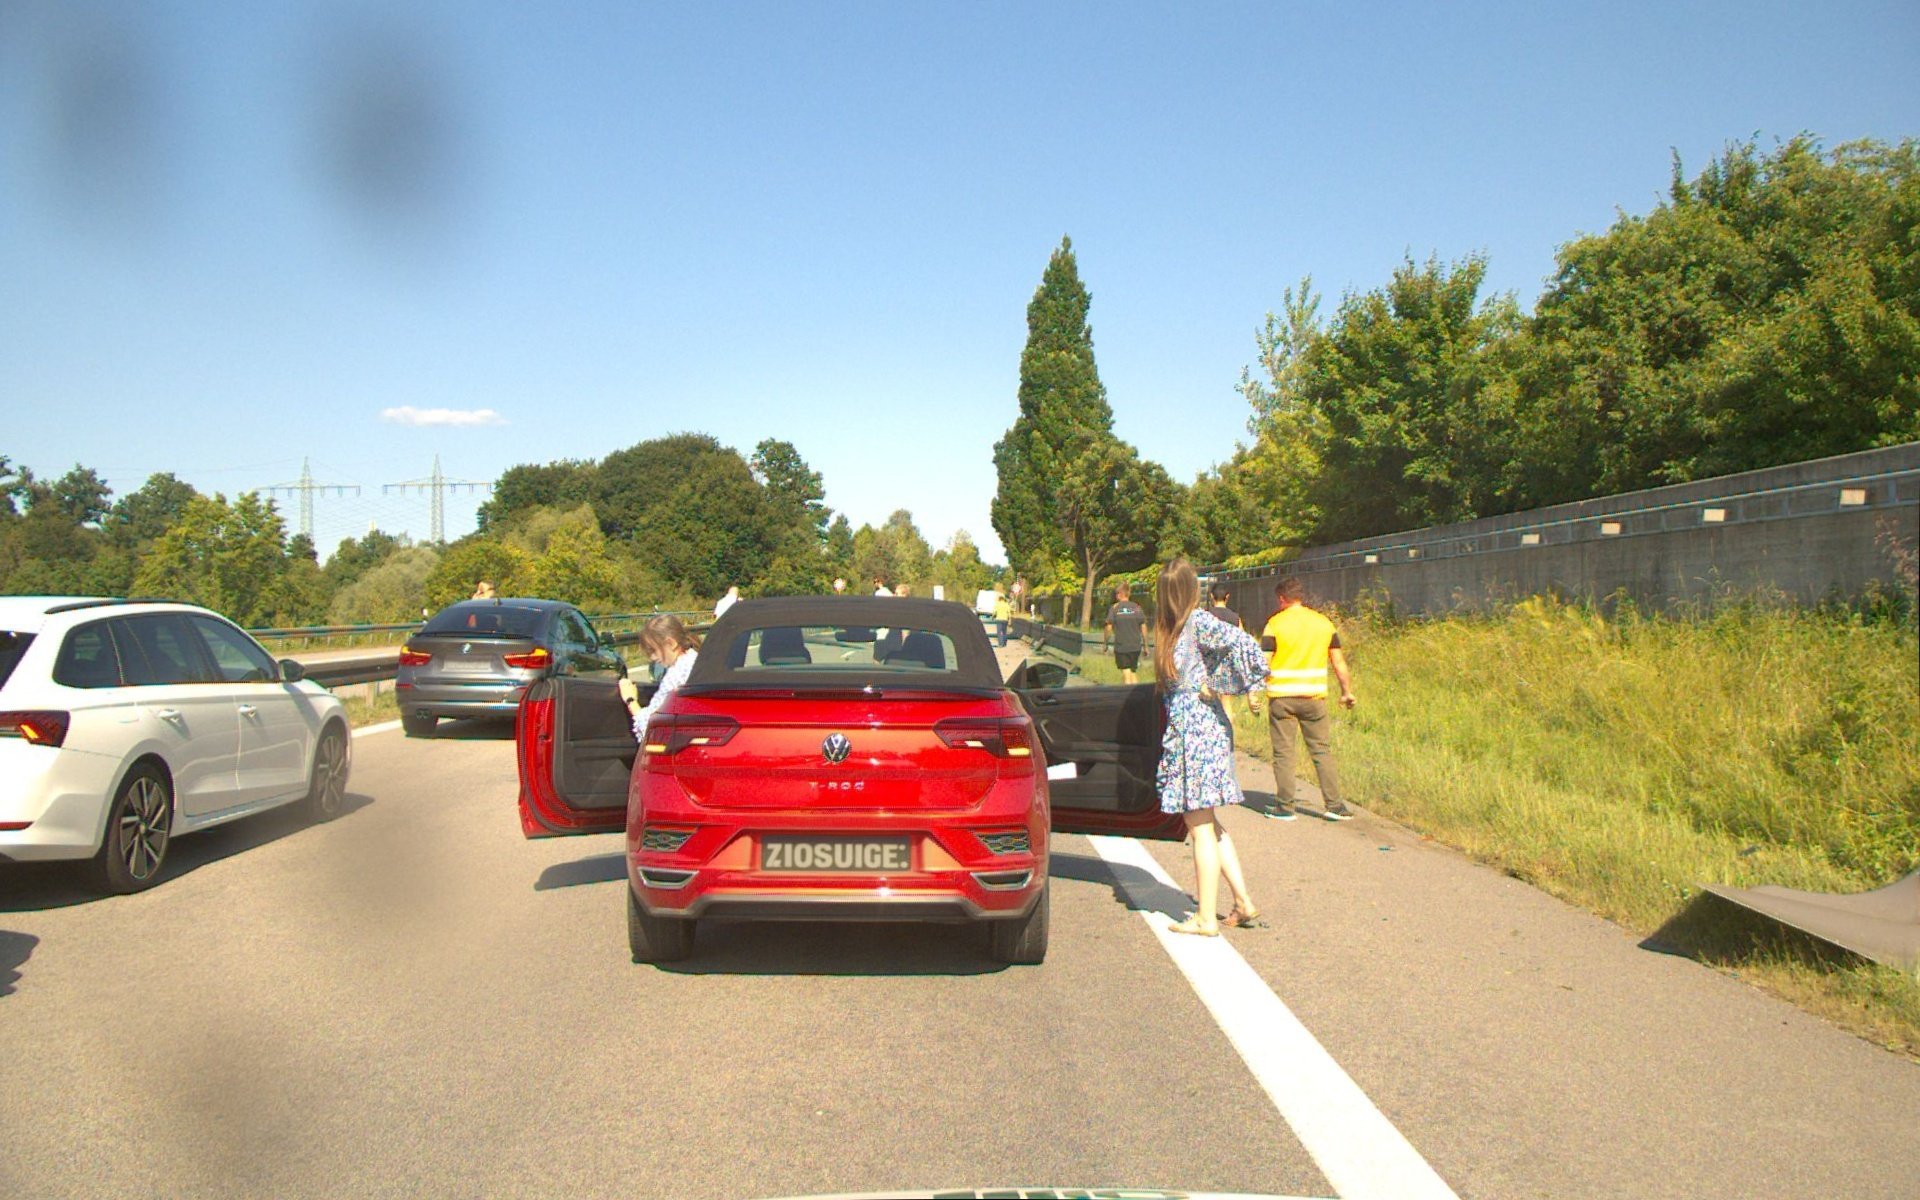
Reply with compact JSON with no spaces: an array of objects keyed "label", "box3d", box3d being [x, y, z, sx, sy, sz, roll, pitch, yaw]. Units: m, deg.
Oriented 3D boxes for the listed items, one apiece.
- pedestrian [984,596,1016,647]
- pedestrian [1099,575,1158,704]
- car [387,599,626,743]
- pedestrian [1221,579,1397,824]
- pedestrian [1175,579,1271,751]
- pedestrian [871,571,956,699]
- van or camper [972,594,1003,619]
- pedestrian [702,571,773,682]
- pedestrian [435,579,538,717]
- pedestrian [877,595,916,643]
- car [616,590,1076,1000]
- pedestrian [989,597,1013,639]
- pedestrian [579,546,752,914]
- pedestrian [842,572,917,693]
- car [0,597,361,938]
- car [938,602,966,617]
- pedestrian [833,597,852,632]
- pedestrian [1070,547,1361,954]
[{"label":"pedestrian","box3d":[1.392,0.748,57.776,1.033,1.719,1.018,1,-1,5]},{"label":"pedestrian","box3d":[2.408,0.558,23.625,0.794,1.790,0.828,1,-1,7]},{"label":"car","box3d":[-5.080,0.731,19.097,1.660,1.451,4.332,1,0,-2]},{"label":"pedestrian","box3d":[2.514,0.699,12.074,0.939,1.682,1.277,-1,0,-3]},{"label":"pedestrian","box3d":[2.748,0.671,17.338,0.876,1.755,0.754,1,-1,0]},{"label":"pedestrian","box3d":[-0.699,0.528,25.382,1.042,1.916,1.094,-1,0,14]},{"label":"van or camper","box3d":[2.700,0.616,160.311,1.951,2.356,4.473,1,-1,15]},{"label":"pedestrian","box3d":[-3.727,0.442,27.821,1.082,1.820,1.091,1,-1,-4]},{"label":"pedestrian","box3d":[-6.335,0.627,22.180,1.019,1.794,1.118,-1,0,1]},{"label":"pedestrian","box3d":[-2.299,0.680,59.619,1.091,1.719,0.973,1,-1,21]},{"label":"car","box3d":[-0.481,0.730,8.278,1.697,1.513,4.209,1,0,-2]},{"label":"pedestrian","box3d":[1.688,0.730,68.248,0.975,1.719,1.010,1,-1,1]},{"label":"pedestrian","box3d":[-1.480,0.603,8.224,0.730,1.712,0.837,-1,0,-18]},{"label":"pedestrian","box3d":[-1.341,0.520,27.371,1.085,1.946,1.254,-1,0,-9]},{"label":"car","box3d":[-4.911,0.727,9.282,1.660,1.467,4.209,1,0,-2]},{"label":"car","box3d":[-0.793,0.922,161.624,1.695,1.513,4.213,1,0,15]},{"label":"pedestrian","box3d":[-5.823,0.712,82.015,0.775,1.719,0.792,1,-1,3]},{"label":"pedestrian","box3d":[1.134,0.638,7.567,1.103,1.725,0.891,-1,0,-7]}]
